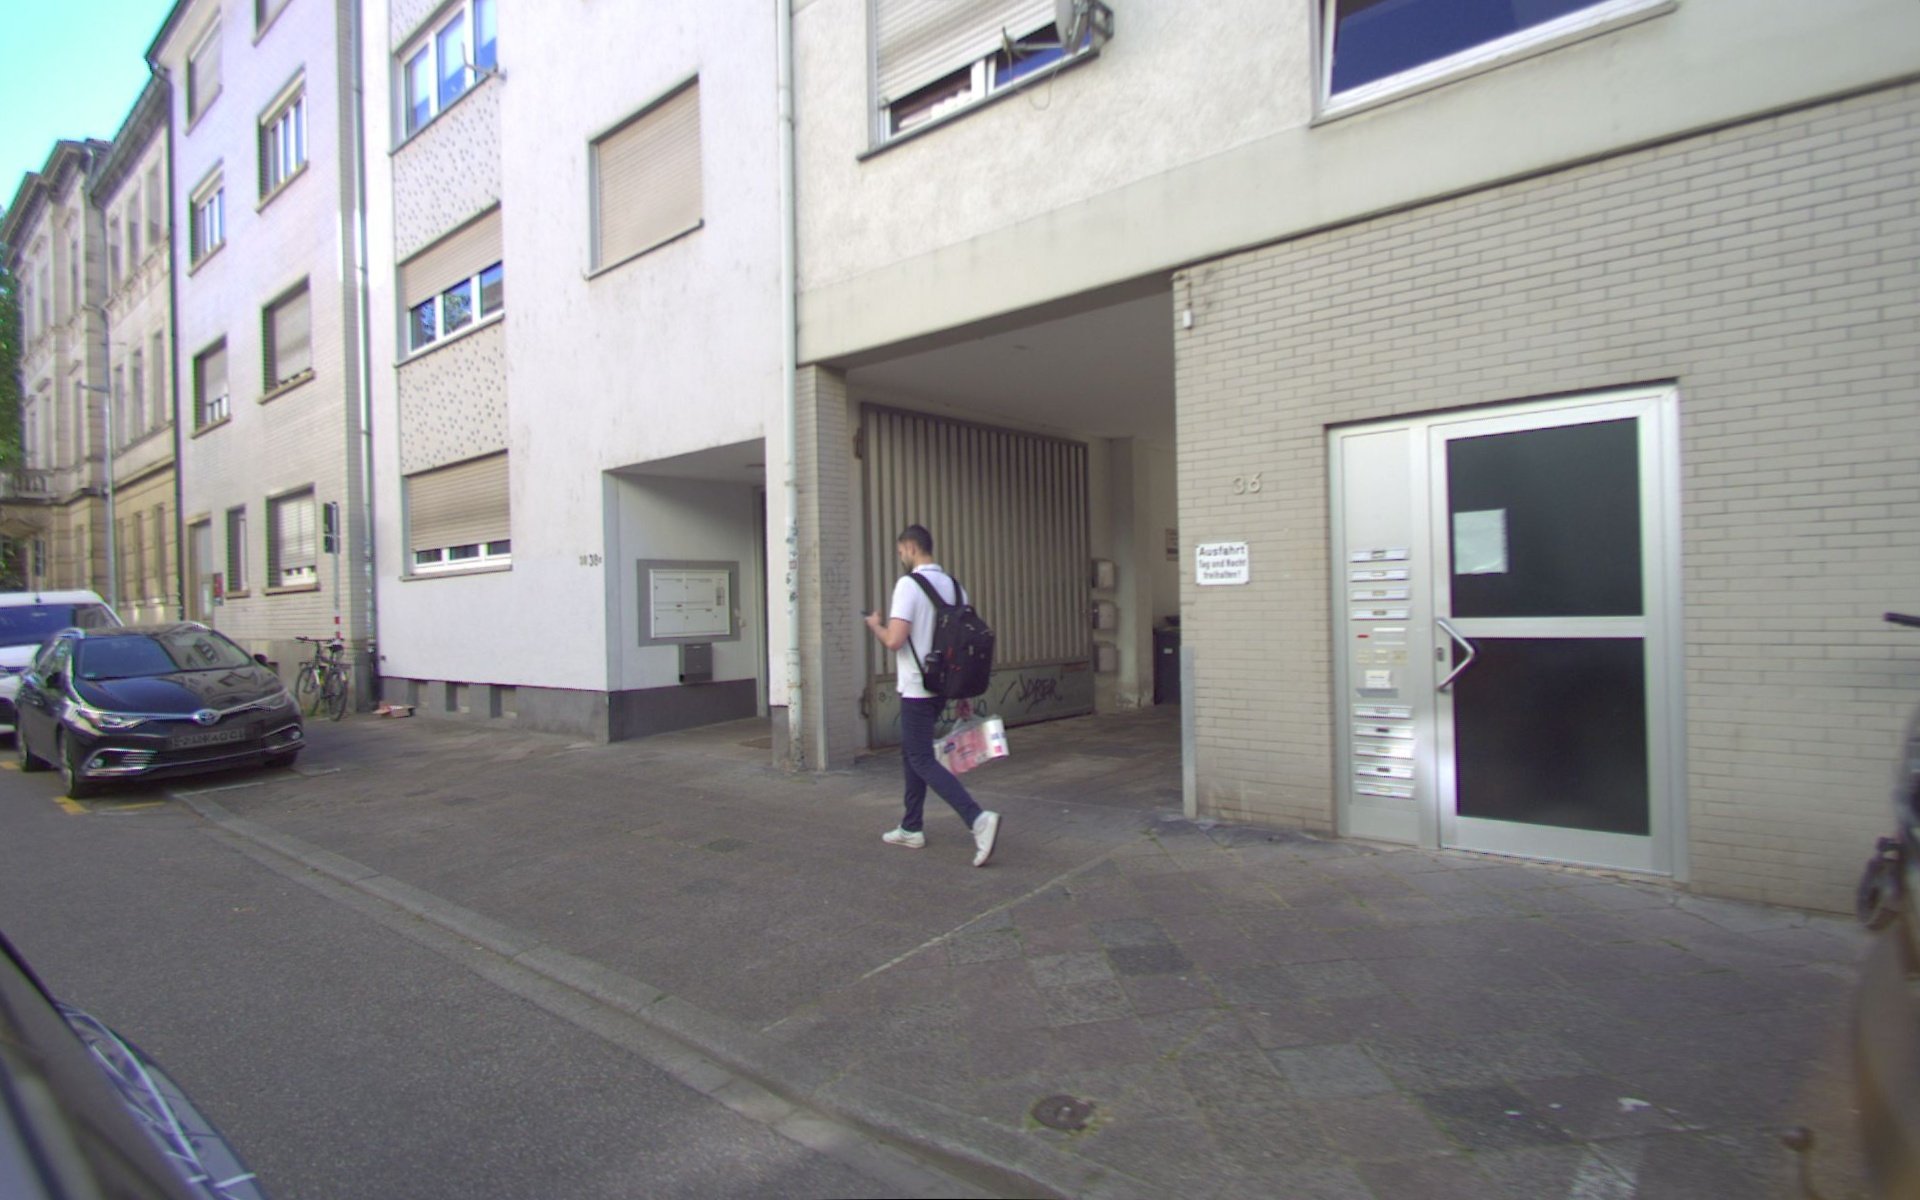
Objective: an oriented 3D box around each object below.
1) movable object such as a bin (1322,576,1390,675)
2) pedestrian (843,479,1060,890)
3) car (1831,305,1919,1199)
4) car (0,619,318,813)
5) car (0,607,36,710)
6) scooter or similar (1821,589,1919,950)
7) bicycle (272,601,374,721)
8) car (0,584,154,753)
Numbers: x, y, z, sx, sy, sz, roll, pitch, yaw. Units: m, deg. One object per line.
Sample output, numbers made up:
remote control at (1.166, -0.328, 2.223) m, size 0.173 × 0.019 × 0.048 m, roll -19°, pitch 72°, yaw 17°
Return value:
movable object such as a bin at (6.313, 0.404, 16.136) m, size 0.854 × 1.538 × 0.504 m, roll -2°, pitch -1°, yaw 41°
pedestrian at (-0.036, 0.390, 5.311) m, size 0.690 × 1.948 × 0.798 m, roll -2°, pitch 2°, yaw 41°
car at (3.294, 0.402, 0.219) m, size 4.536 × 1.768 × 1.862 m, roll -3°, pitch 2°, yaw 38°
car at (-8.059, 0.973, 9.981) m, size 4.298 × 1.461 × 1.689 m, roll -2°, pitch 0°, yaw 40°
car at (-19.878, 1.216, 20.065) m, size 4.087 × 1.890 × 1.727 m, roll -3°, pitch 2°, yaw 41°
scooter or similar at (3.671, 0.596, 3.355) m, size 0.431 × 1.288 × 1.235 m, roll -1°, pitch -1°, yaw -8°
bicycle at (-8.736, 0.811, 13.846) m, size 1.798 × 1.520 × 0.552 m, roll -2°, pitch 1°, yaw 38°
car at (-13.018, 0.903, 14.020) m, size 4.776 × 1.973 × 1.876 m, roll -3°, pitch 1°, yaw 39°
